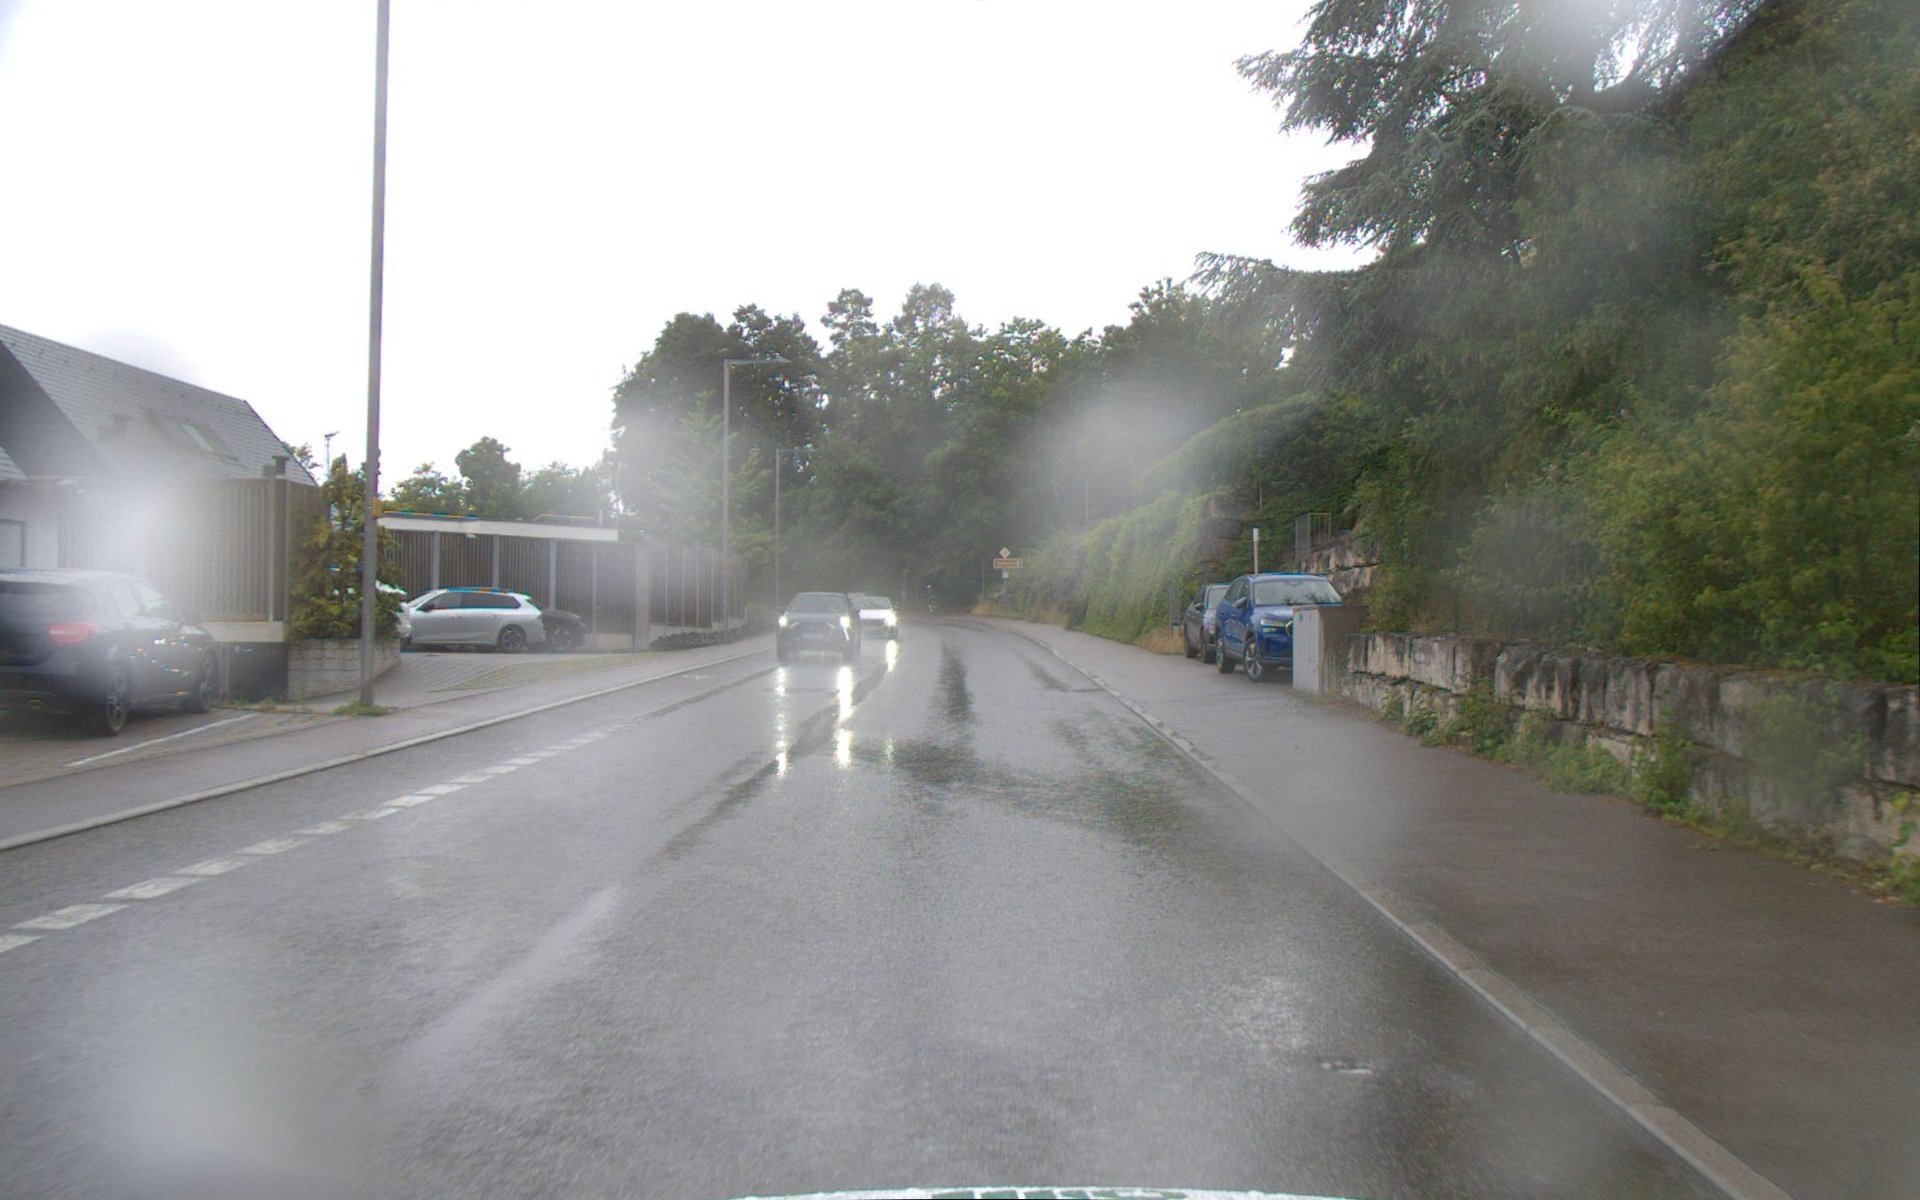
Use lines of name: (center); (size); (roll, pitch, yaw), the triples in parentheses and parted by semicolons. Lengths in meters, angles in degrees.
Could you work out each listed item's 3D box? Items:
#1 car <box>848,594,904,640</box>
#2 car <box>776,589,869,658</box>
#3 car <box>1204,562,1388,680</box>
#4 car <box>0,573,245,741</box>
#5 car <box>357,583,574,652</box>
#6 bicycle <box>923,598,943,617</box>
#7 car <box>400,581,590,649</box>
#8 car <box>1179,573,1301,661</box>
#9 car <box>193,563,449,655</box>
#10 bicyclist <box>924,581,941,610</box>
car: (-2.858, 0.568, 56.982); (1.809, 1.486, 4.266); (1, 0, -2)
car: (-3.169, 0.522, 38.764); (1.813, 1.495, 3.699); (1, 0, 0)
car: (5.425, 0.320, 27.297); (1.953, 1.699, 4.543); (-2, 0, -1)
car: (-8.545, 0.471, 16.178); (1.800, 1.430, 4.251); (1, 0, -9)
car: (-11.418, 0.428, 38.333); (4.489, 1.467, 1.736); (2, -1, -39)
bicycle: (-1.581, 0.439, 95.703); (0.521, 1.104, 1.607); (1, 0, -25)
car: (-11.656, 0.384, 41.564); (4.242, 1.629, 1.816); (1, 0, -35)
car: (5.578, 0.319, 33.393); (1.773, 1.590, 4.011); (-2, 0, 1)
car: (-11.788, 0.171, 30.636); (4.022, 1.601, 1.914); (1, 0, -41)
bicyclist: (-1.587, -0.270, 95.786); (0.710, 1.643, 0.899); (1, 0, -22)
